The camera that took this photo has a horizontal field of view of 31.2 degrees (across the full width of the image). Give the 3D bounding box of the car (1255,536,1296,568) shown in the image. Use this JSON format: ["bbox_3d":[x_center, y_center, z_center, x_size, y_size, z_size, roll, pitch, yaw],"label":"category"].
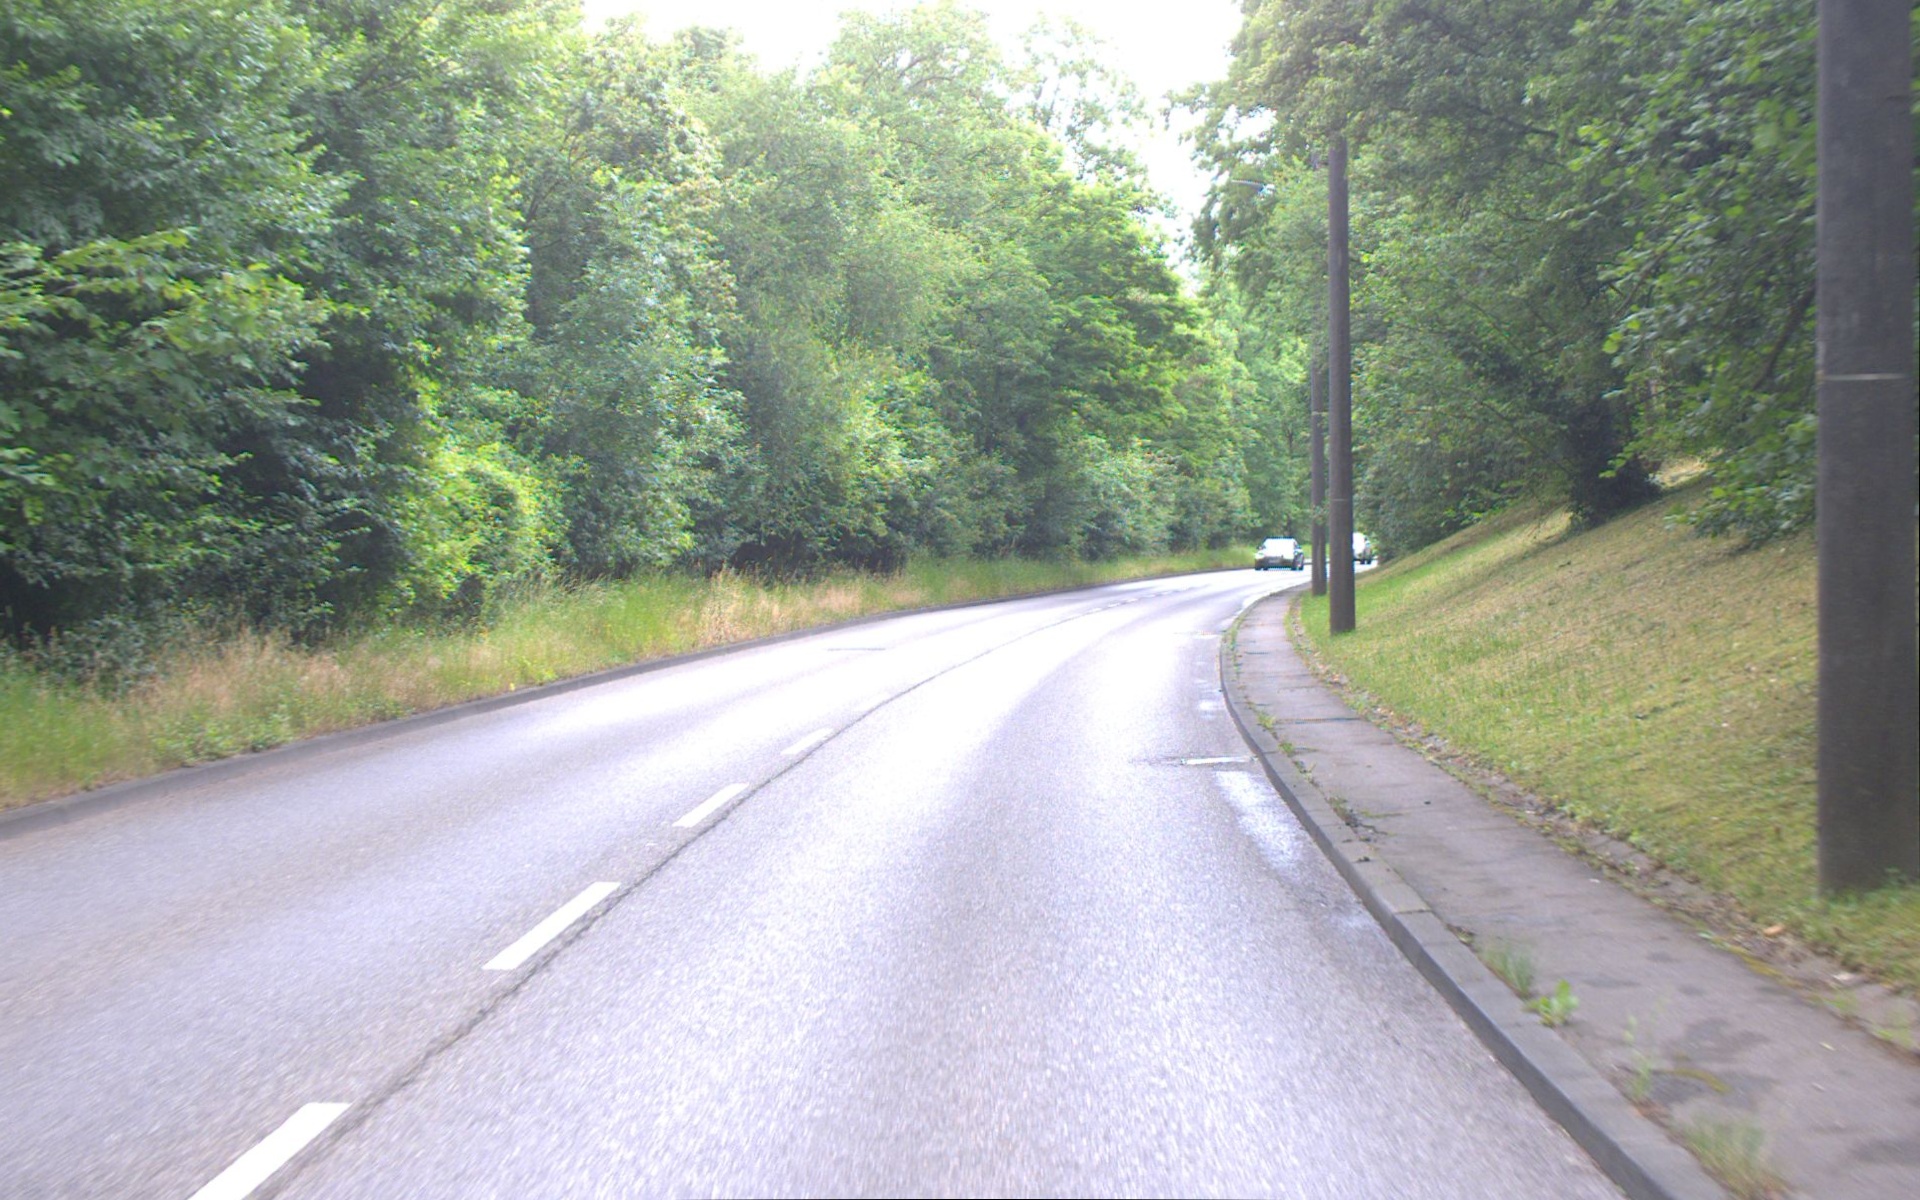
[{"bbox_3d":[14.377,-2.201,156.682,1.810,1.415,3.999,0,1,5],"label":"car"}]

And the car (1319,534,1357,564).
[{"bbox_3d":[20.464,-2.783,186.152,1.942,1.576,4.440,0,1,5],"label":"car"}]
